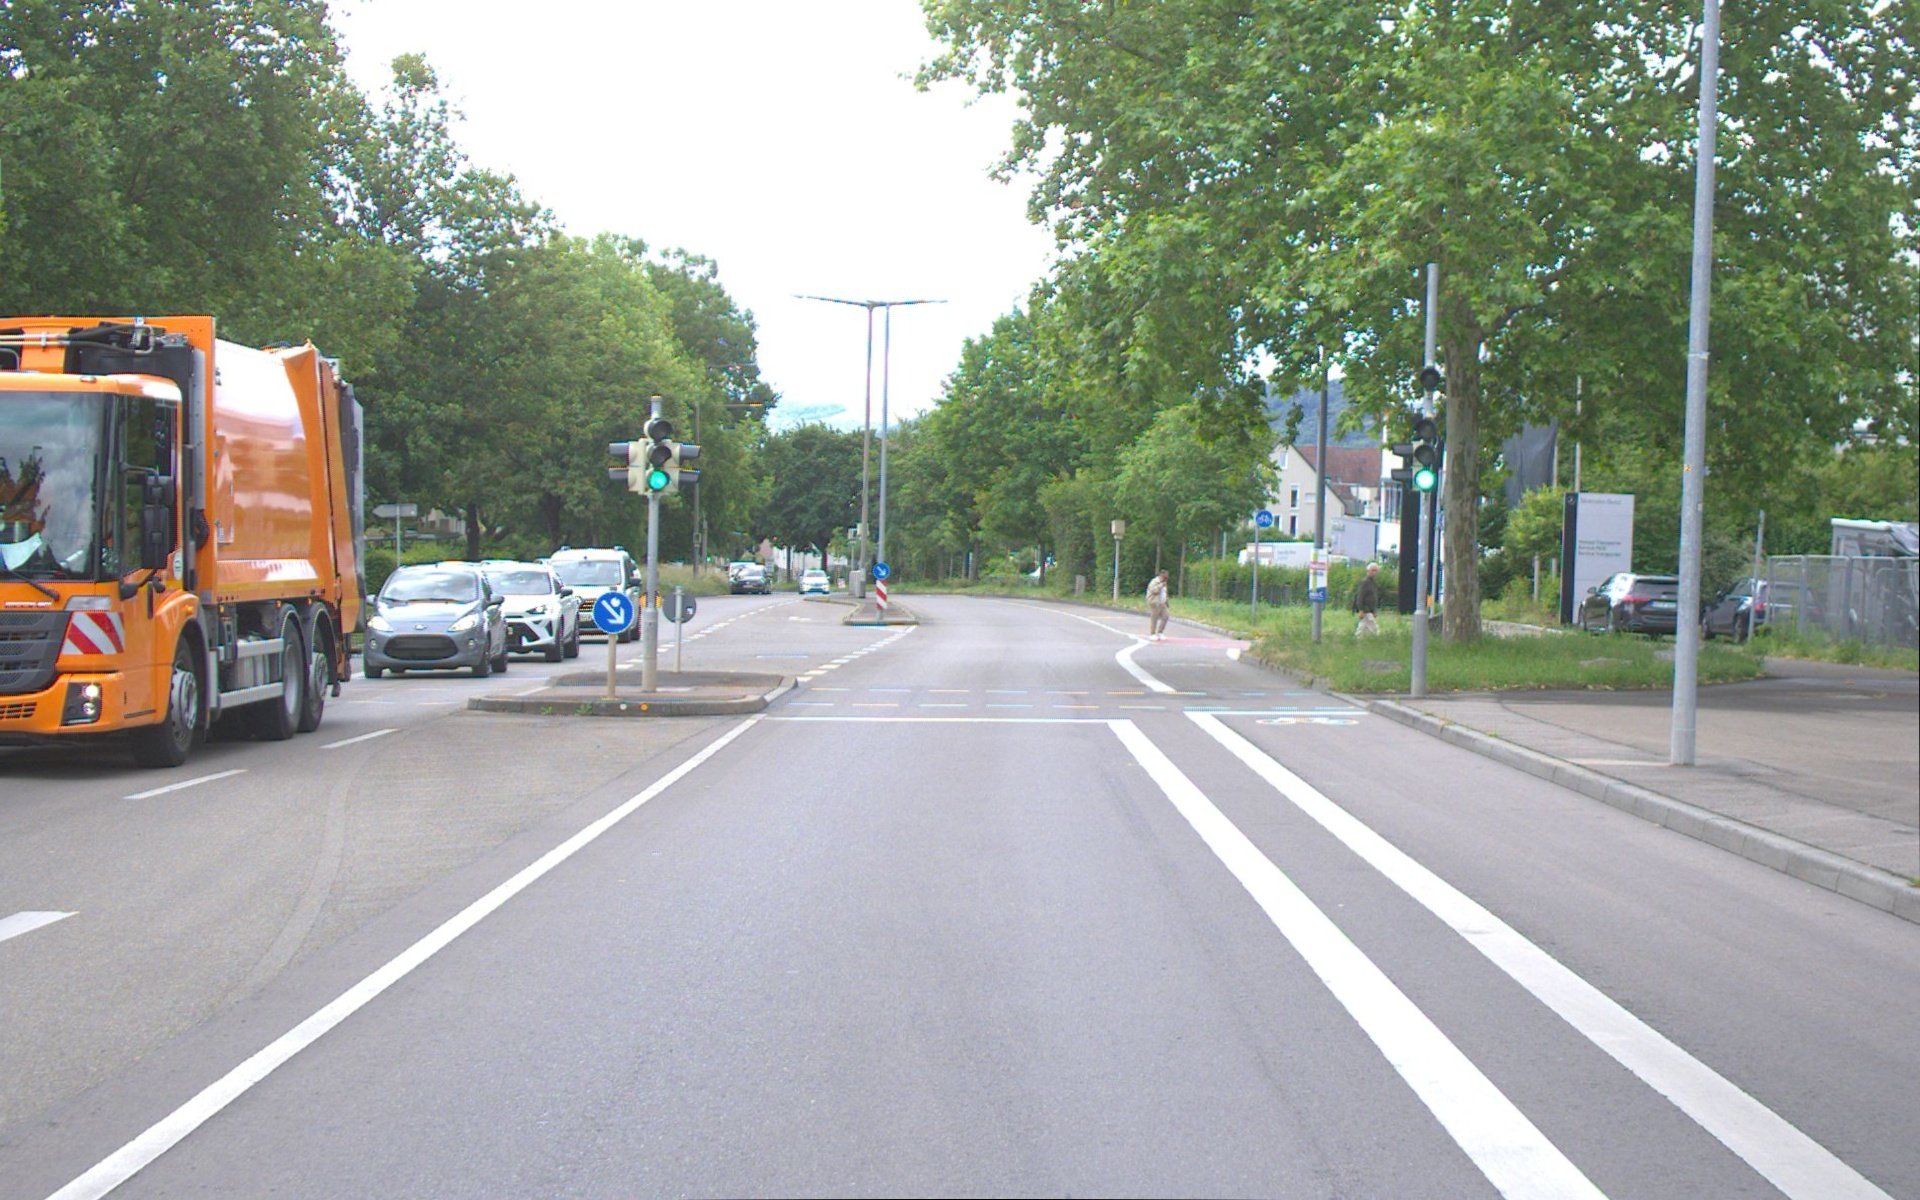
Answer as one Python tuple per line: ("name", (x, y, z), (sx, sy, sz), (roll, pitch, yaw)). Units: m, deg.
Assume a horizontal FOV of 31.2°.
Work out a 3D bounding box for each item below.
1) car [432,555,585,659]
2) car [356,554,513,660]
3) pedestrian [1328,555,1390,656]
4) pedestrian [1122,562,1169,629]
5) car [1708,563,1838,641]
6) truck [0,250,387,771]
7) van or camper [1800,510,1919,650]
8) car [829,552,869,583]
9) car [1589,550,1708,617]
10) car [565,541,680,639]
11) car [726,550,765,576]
("car", (-6.993, 0.076, 53.653), (1.846, 1.515, 4.816), (-1, 1, -1))
("car", (-6.940, 0.063, 45.663), (1.547, 1.326, 3.654), (-1, 1, -1))
("pedestrian", (7.167, 0.090, 61.759), (0.748, 1.795, 0.860), (2, 1, 35))
("pedestrian", (4.102, -0.100, 76.087), (0.788, 1.458, 0.749), (1, 1, -19))
("car", (17.402, 0.020, 73.751), (1.710, 1.503, 4.344), (3, 1, 1))
("truck", (-6.916, -0.740, 28.073), (2.706, 3.475, 9.995), (2, 1, 0))
("van or camper", (20.074, -0.462, 74.081), (1.965, 2.858, 6.920), (1, 1, -2))
("car", (-4.841, -1.434, 150.051), (1.611, 1.300, 4.000), (2, 1, 0))
("car", (14.691, -0.377, 73.561), (1.710, 1.349, 4.344), (1, 1, 1))
("car", (-6.470, -0.219, 66.289), (1.846, 1.797, 4.651), (-1, 1, -1))
("car", (-11.223, -1.941, 180.231), (1.771, 1.300, 4.000), (2, 1, 0))
